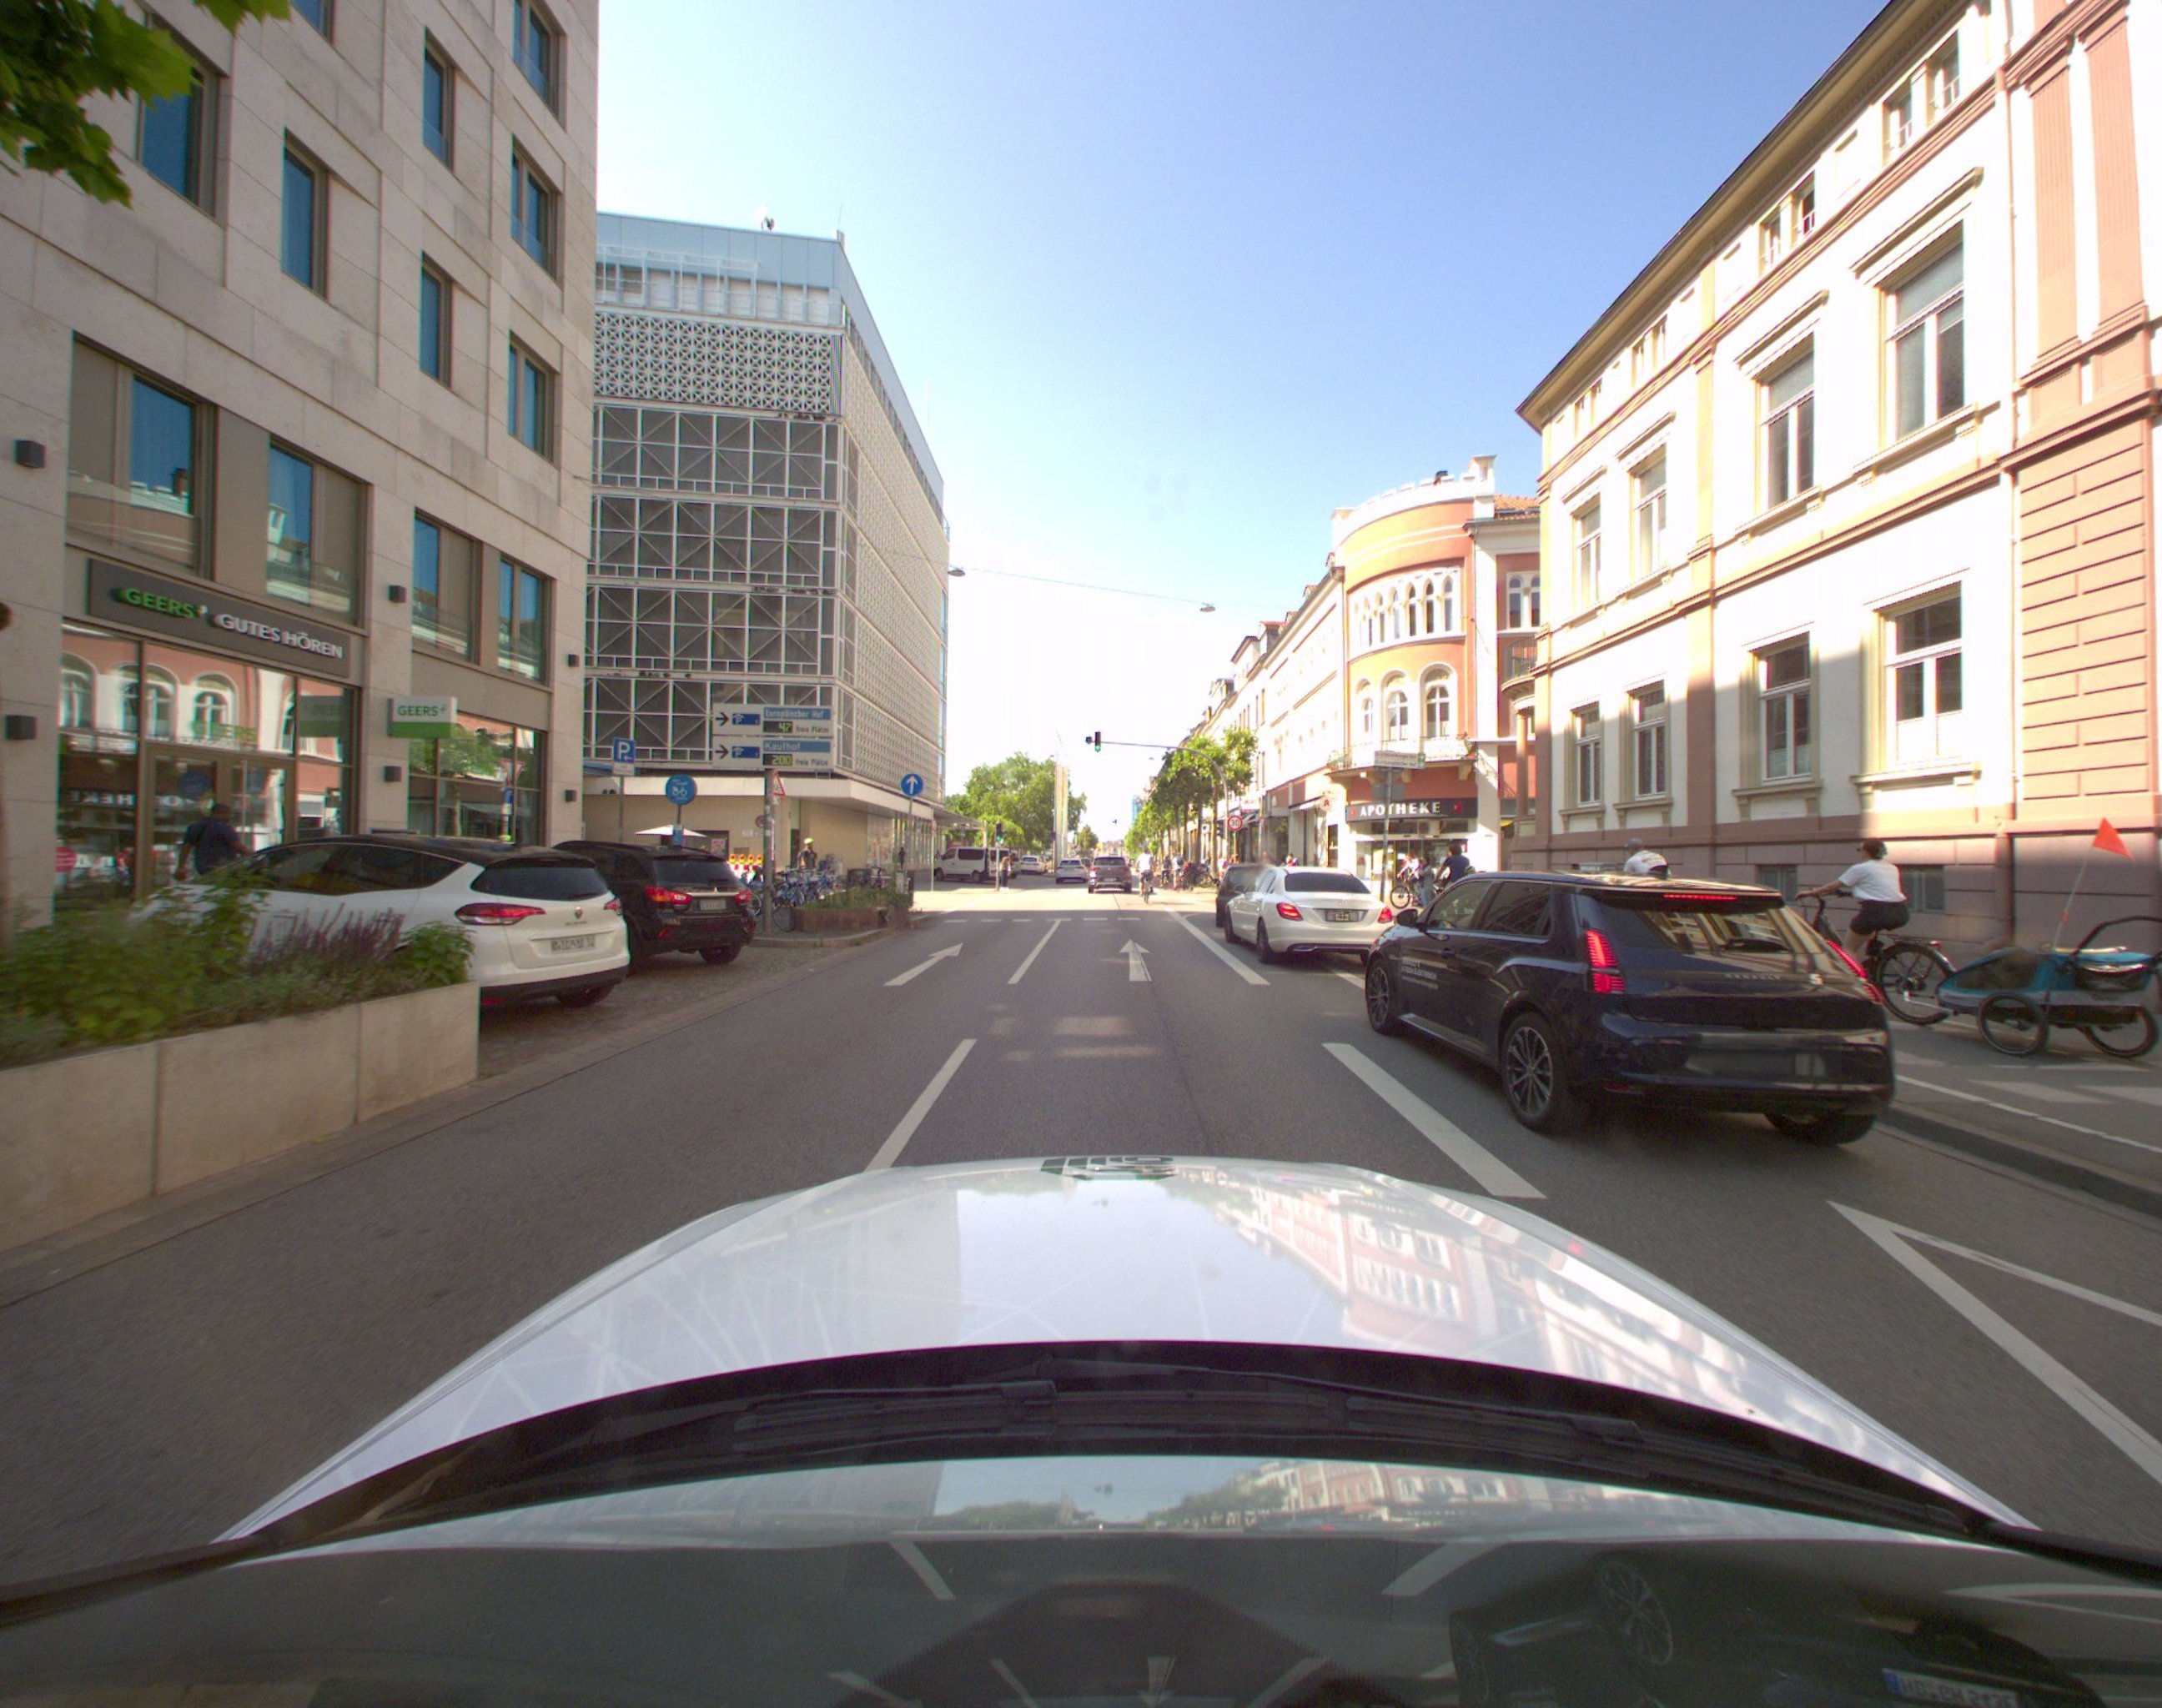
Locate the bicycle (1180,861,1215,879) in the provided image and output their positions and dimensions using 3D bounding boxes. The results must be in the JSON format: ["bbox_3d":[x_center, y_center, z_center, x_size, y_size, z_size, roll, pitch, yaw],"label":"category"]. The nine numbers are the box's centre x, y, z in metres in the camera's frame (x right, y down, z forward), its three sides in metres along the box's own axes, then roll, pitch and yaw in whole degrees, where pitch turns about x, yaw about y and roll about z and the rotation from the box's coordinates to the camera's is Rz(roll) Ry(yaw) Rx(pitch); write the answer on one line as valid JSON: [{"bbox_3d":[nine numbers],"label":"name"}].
[{"bbox_3d":[7.079,0.977,49.489,1.971,1.127,0.764,0,-2,14],"label":"bicycle"}]

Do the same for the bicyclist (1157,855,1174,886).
[{"bbox_3d":[3.987,0.766,38.530,0.696,1.441,0.790,2,-1,-2],"label":"bicyclist"}]

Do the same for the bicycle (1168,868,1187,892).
[{"bbox_3d":[4.200,1.123,35.458,0.628,0.980,2.089,0,0,2],"label":"bicycle"}]

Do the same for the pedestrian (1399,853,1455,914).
[{"bbox_3d":[9.385,0.803,22.112,0.903,1.612,0.970,0,-3,-19],"label":"pedestrian"}]

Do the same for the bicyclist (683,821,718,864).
[{"bbox_3d":[-13.790,-0.424,29.531,1.079,1.539,0.730,-2,1,-27],"label":"bicyclist"}]

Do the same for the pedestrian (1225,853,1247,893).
[{"bbox_3d":[6.664,0.825,35.087,0.785,1.690,0.641,1,0,-1],"label":"pedestrian"}]

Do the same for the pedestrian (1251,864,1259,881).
[{"bbox_3d":[10.306,1.082,48.232,0.363,0.968,0.437,1,0,3],"label":"pedestrian"}]

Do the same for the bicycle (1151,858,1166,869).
[{"bbox_3d":[8.601,1.074,90.506,1.720,1.217,0.478,1,-1,4],"label":"bicycle"}]

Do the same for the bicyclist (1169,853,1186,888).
[{"bbox_3d":[4.201,0.695,35.473,0.628,1.481,1.198,0,0,1],"label":"bicyclist"}]

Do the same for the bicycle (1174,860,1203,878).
[{"bbox_3d":[6.963,0.991,52.769,1.822,1.127,0.451,-1,-2,30],"label":"bicycle"}]

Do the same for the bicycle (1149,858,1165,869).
[{"bbox_3d":[8.376,1.049,89.296,1.720,1.217,0.478,1,-1,4],"label":"bicycle"}]

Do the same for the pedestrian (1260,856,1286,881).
[{"bbox_3d":[10.818,0.819,45.921,1.229,1.422,0.789,0,-2,-1],"label":"pedestrian"}]

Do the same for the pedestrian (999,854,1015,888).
[{"bbox_3d":[-3.448,0.788,37.974,0.639,1.559,0.679,2,0,-10],"label":"pedestrian"}]

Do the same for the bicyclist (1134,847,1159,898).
[{"bbox_3d":[2.138,0.591,26.704,0.771,1.635,0.851,0,0,2],"label":"bicyclist"}]

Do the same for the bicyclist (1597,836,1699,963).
[{"bbox_3d":[7.875,0.594,11.360,0.570,1.661,1.158,-1,0,-2],"label":"bicyclist"}]

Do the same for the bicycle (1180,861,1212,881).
[{"bbox_3d":[6.641,0.977,47.077,1.832,1.127,0.530,0,-2,3],"label":"bicycle"}]

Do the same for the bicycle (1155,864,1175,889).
[{"bbox_3d":[3.973,1.065,38.701,0.696,1.127,2.080,2,0,-1],"label":"bicycle"}]

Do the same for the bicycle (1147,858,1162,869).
[{"bbox_3d":[8.767,1.116,96.963,1.835,1.201,0.609,1,-1,4],"label":"bicycle"}]

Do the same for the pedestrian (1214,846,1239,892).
[{"bbox_3d":[5.730,0.599,32.152,0.637,1.709,0.789,-6,-3,-2],"label":"pedestrian"}]

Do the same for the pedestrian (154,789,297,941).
[{"bbox_3d":[-11.277,0.144,10.768,0.835,1.879,0.845,4,-1,2],"label":"pedestrian"}]

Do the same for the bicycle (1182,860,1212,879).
[{"bbox_3d":[7.250,0.974,51.000,1.831,1.127,0.449,0,-2,4],"label":"bicycle"}]

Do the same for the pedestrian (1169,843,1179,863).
[{"bbox_3d":[7.878,-0.103,68.880,0.637,1.689,0.843,3,0,-1],"label":"pedestrian"}]

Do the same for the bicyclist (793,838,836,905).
[{"bbox_3d":[-7.924,0.515,24.254,0.837,1.960,1.019,0,-1,8],"label":"bicyclist"}]

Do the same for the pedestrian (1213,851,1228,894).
[{"bbox_3d":[5.901,0.764,34.418,0.451,1.795,0.608,2,0,0],"label":"pedestrian"}]

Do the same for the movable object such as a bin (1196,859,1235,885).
[{"bbox_3d":[6.806,0.908,41.301,1.836,1.189,0.656,2,0,17],"label":"movable object such as a bin"}]

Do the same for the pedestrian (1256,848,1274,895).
[{"bbox_3d":[7.423,0.703,32.804,0.634,1.843,0.617,2,-1,13],"label":"pedestrian"}]

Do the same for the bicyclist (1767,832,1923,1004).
[{"bbox_3d":[7.492,0.590,8.029,0.743,1.573,0.845,-2,2,2],"label":"bicyclist"}]

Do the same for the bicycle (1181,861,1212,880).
[{"bbox_3d":[7.120,1.006,50.202,1.827,1.127,0.532,2,-1,14],"label":"bicycle"}]

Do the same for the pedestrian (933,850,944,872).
[{"bbox_3d":[-10.115,0.477,57.810,0.677,1.559,0.640,0,0,-3],"label":"pedestrian"}]

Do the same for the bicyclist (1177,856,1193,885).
[{"bbox_3d":[4.926,0.772,38.483,0.598,1.358,0.720,2,-2,-2],"label":"bicyclist"}]

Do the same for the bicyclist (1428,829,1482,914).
[{"bbox_3d":[7.507,0.349,16.379,0.728,1.673,0.775,-1,-1,3],"label":"bicyclist"}]

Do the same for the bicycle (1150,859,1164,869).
[{"bbox_3d":[8.718,1.146,93.714,1.641,1.095,0.607,1,-1,4],"label":"bicycle"}]

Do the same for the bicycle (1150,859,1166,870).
[{"bbox_3d":[8.445,1.123,88.932,1.720,1.109,0.478,1,-1,4],"label":"bicycle"}]

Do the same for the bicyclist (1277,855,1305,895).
[{"bbox_3d":[7.403,0.737,28.753,0.855,1.411,0.501,0,0,2],"label":"bicyclist"}]

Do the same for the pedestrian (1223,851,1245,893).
[{"bbox_3d":[6.718,0.779,35.791,0.785,1.795,0.641,2,0,-1],"label":"pedestrian"}]

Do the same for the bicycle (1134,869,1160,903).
[{"bbox_3d":[2.140,1.022,26.718,0.771,1.006,2.331,0,0,2],"label":"bicycle"}]

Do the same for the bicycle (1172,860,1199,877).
[{"bbox_3d":[6.884,0.985,53.801,1.853,1.127,0.587,1,-2,-34],"label":"bicycle"}]

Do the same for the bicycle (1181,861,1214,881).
[{"bbox_3d":[6.612,0.970,46.384,1.832,1.127,0.667,0,-1,3],"label":"bicycle"}]

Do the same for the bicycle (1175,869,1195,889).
[{"bbox_3d":[4.916,1.171,38.475,0.598,0.926,2.086,2,-2,-2],"label":"bicycle"}]
